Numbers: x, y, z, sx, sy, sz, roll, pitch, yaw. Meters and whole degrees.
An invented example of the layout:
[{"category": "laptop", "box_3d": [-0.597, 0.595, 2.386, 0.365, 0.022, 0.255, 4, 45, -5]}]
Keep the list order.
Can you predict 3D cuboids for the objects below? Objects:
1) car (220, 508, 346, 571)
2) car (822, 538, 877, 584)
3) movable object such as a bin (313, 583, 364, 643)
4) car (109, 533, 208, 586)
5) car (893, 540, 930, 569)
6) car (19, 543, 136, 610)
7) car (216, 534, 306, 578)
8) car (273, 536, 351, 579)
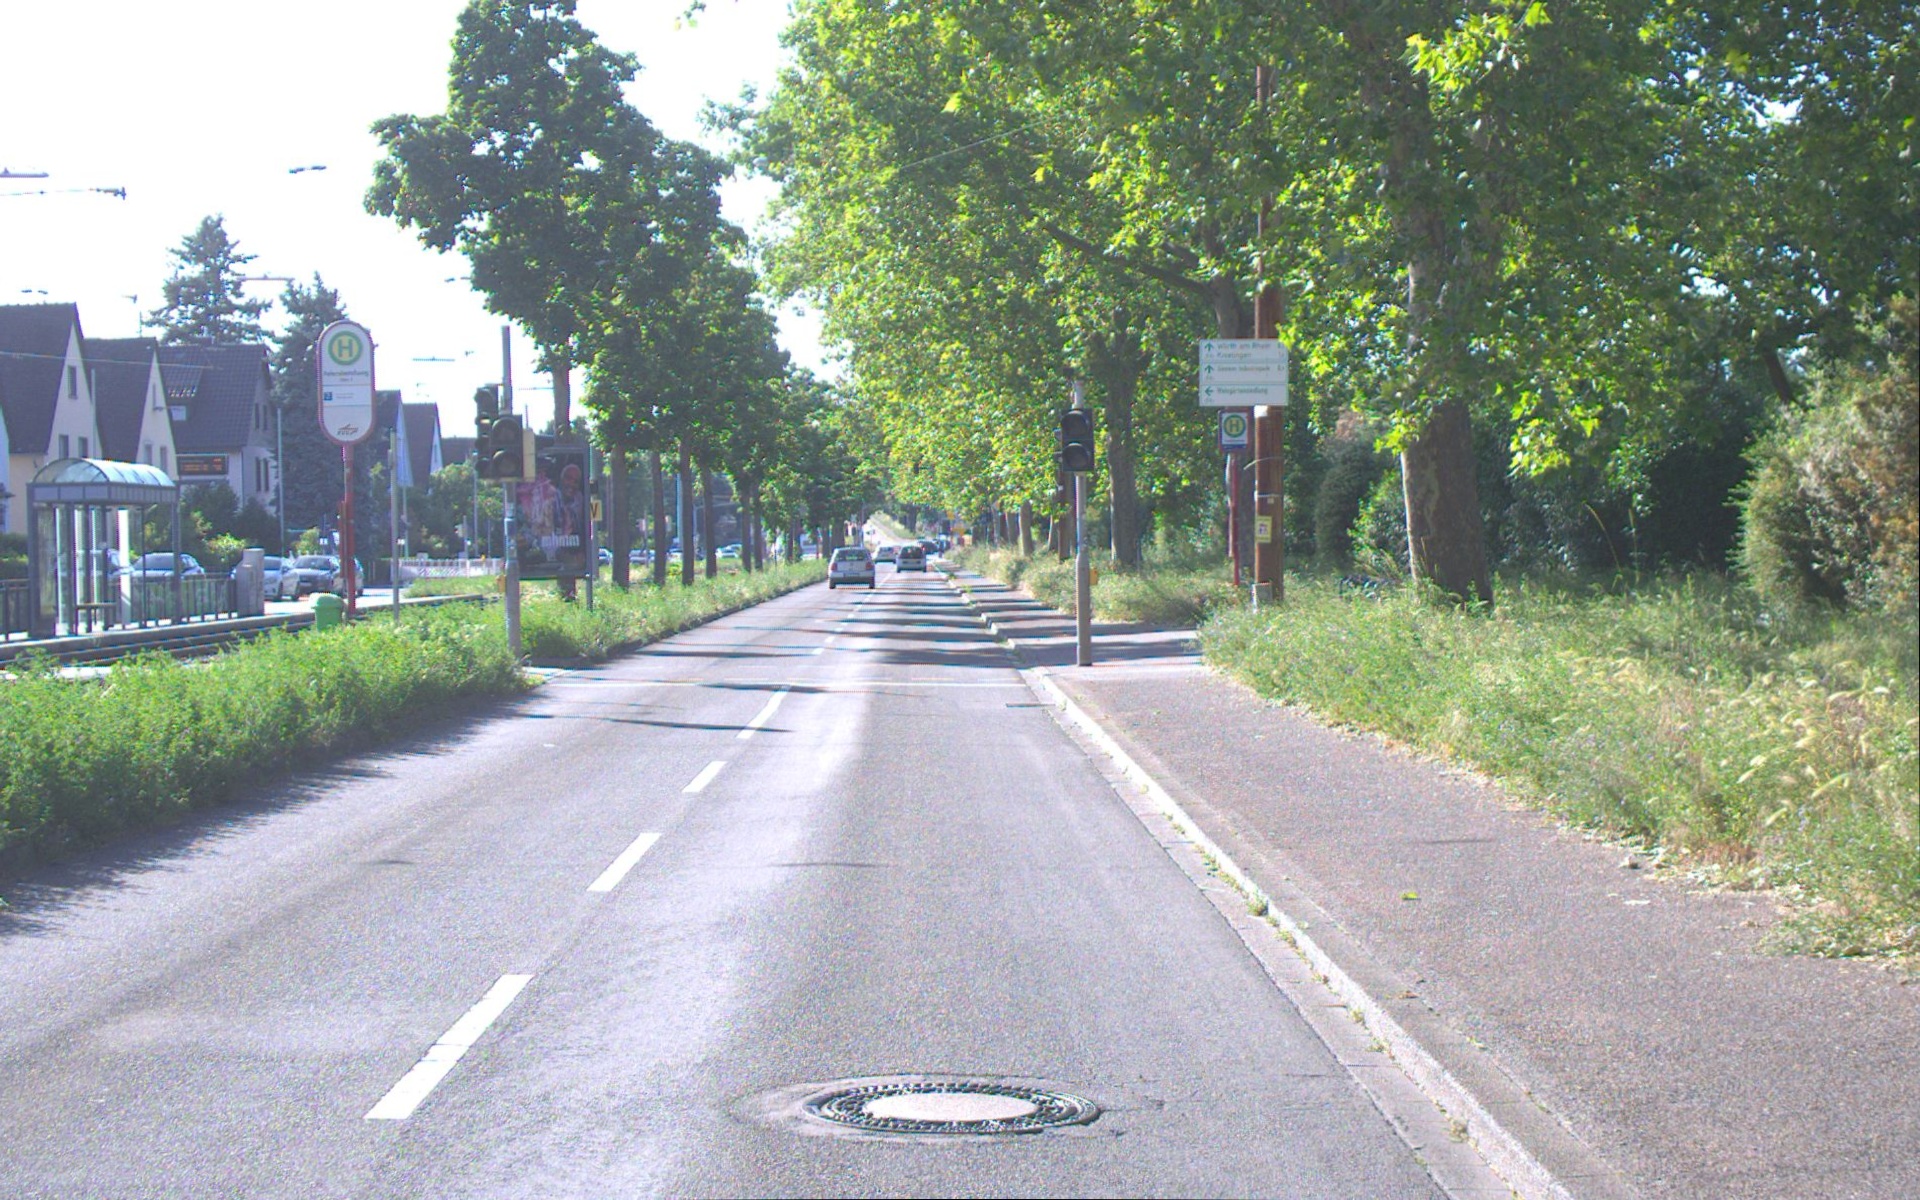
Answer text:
[{"category": "car", "box_3d": [-29.195, -2.631, 148.357, 5.028, 2.616, 2.103, -1, 2, 0]}, {"category": "car", "box_3d": [-3.868, -1.380, 121.190, 1.860, 1.595, 4.228, 0, 1, -1]}, {"category": "movable object such as a bin", "box_3d": [-6.024, 0.124, 33.325, 0.386, 0.580, 0.379, 0, 1, 8]}, {"category": "car", "box_3d": [-23.246, -1.188, 99.842, 1.926, 1.490, 4.256, 0, 1, -1]}, {"category": "car", "box_3d": [-2.721, -2.532, 191.877, 1.993, 1.598, 4.474, 0, 1, -1]}, {"category": "car", "box_3d": [-23.096, -0.636, 90.081, 1.993, 1.707, 4.391, 0, 1, -1]}, {"category": "car", "box_3d": [-23.092, -1.463, 113.688, 1.993, 1.421, 4.410, 0, 1, 1]}, {"category": "car", "box_3d": [-23.085, -1.518, 122.579, 1.993, 1.445, 4.128, 3, 1, -1]}]
